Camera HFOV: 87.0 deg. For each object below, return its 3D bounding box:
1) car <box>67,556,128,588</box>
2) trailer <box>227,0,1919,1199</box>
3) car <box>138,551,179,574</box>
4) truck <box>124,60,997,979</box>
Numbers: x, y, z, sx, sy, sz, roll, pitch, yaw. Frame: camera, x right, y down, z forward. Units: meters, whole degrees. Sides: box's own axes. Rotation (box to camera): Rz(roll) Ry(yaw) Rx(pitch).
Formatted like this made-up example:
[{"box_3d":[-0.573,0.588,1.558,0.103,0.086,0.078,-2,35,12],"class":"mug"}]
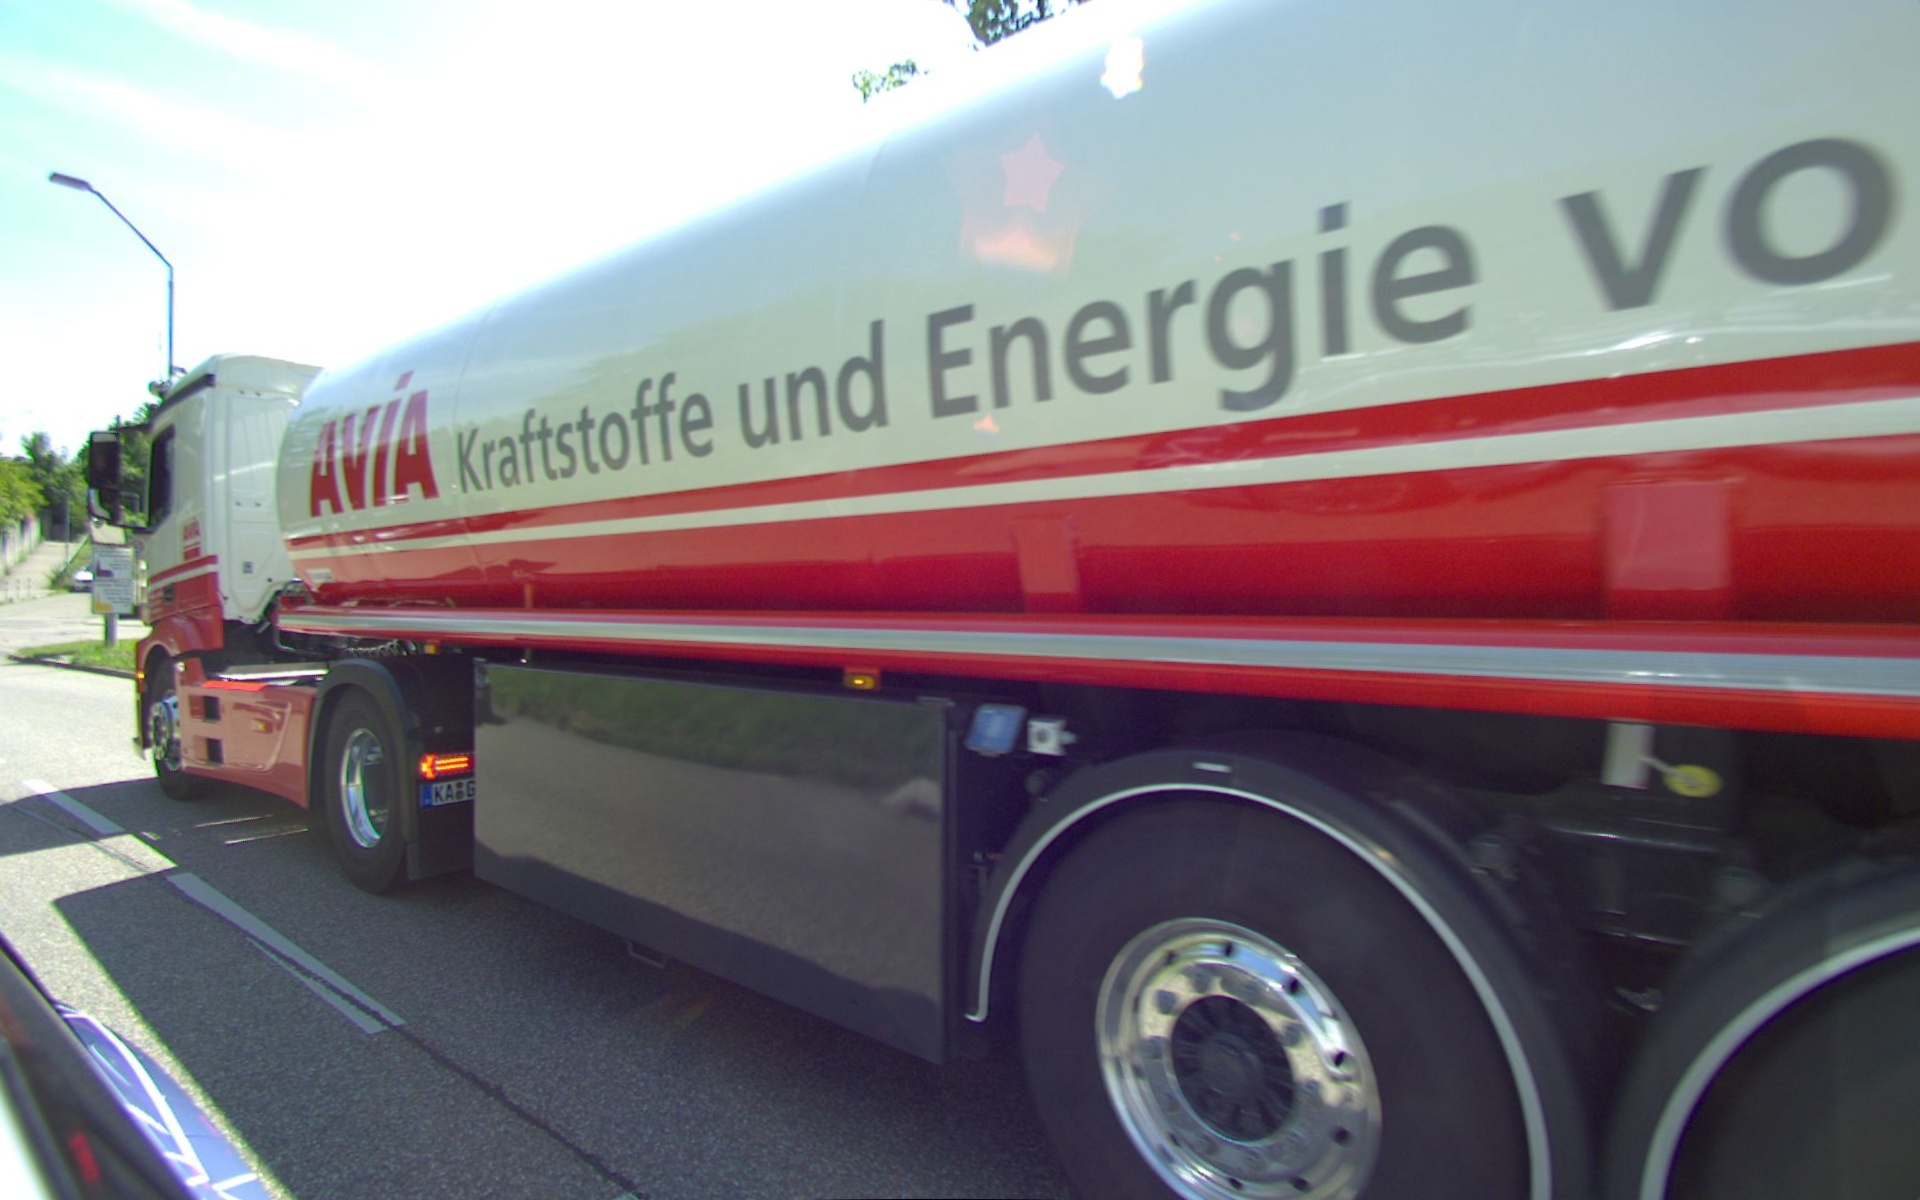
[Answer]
[{"box_3d":[-46.280,-1.550,54.393,1.966,1.518,4.012,-2,4,-33],"class":"car"},{"box_3d":[0.440,-0.313,3.654,11.138,3.398,2.605,0,1,41],"class":"trailer"},{"box_3d":[-54.024,-2.547,68.260,1.721,1.399,4.013,-1,5,-32],"class":"car"},{"box_3d":[-3.289,-0.298,6.850,7.065,3.194,2.598,0,1,42],"class":"truck"}]
